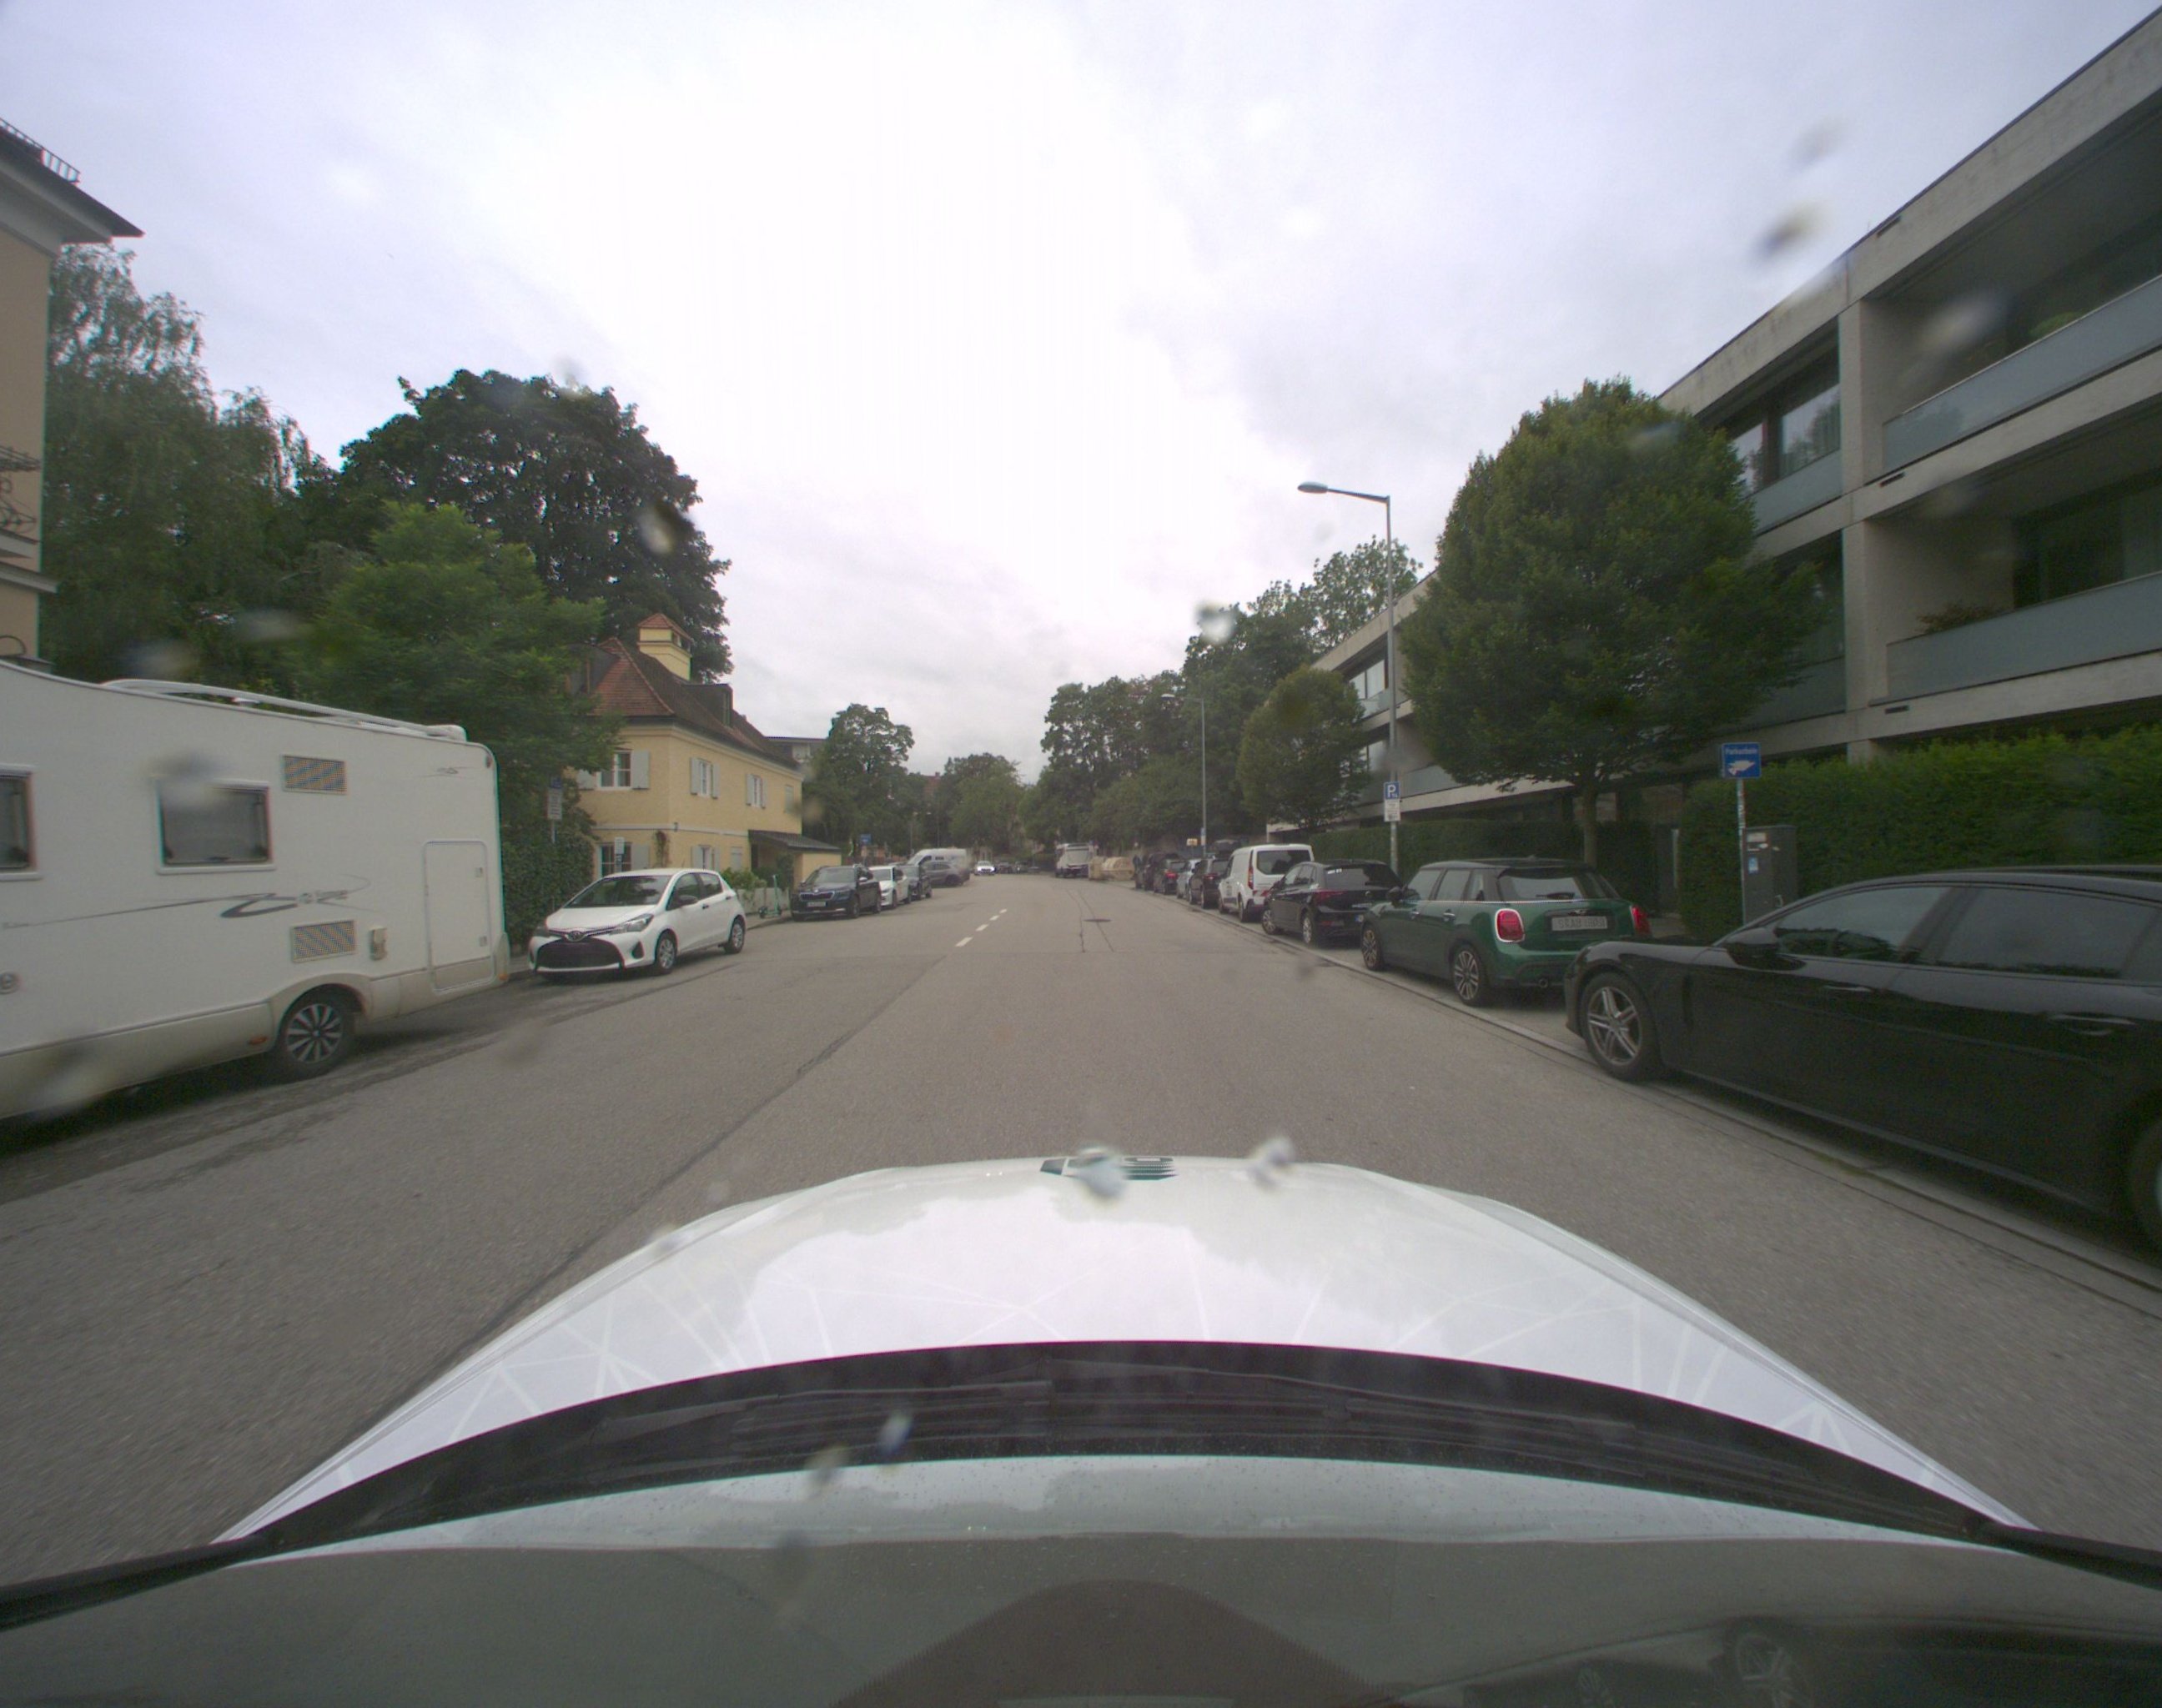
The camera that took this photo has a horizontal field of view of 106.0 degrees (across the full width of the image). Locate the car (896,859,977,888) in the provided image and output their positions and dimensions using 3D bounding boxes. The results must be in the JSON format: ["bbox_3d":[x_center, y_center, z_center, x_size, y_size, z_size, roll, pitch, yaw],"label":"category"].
[{"bbox_3d":[-9.018,1.207,50.919,4.546,1.594,1.944,-2,0,-35],"label":"car"}]

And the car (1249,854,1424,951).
[{"bbox_3d":[4.427,0.764,14.809,1.743,1.464,4.240,-1,0,-1],"label":"car"}]

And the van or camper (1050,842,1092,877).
[{"bbox_3d":[-0.941,0.489,72.608,2.275,2.906,7.244,-1,0,-13],"label":"van or camper"}]

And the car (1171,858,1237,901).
[{"bbox_3d":[4.523,0.910,30.455,1.743,1.480,3.885,-1,0,-2],"label":"car"}]

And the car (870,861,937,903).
[{"bbox_3d":[-7.248,1.100,33.723,1.841,1.535,4.557,-3,0,-2],"label":"car"}]

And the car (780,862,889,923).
[{"bbox_3d":[-7.117,1.061,23.989,1.840,1.535,4.439,-3,-1,-1],"label":"car"}]

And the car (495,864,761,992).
[{"bbox_3d":[-6.739,0.982,12.746,1.773,1.535,4.226,-3,0,-1],"label":"car"}]

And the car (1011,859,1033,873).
[{"bbox_3d":[-7.135,1.498,98.083,1.747,1.536,2.922,-2,-1,-24],"label":"car"}]

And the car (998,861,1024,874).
[{"bbox_3d":[-8.801,1.680,101.839,1.886,1.427,4.188,-2,0,-24],"label":"car"}]

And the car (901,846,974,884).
[{"bbox_3d":[-10.361,0.796,58.973,4.657,2.563,2.210,-2,0,-35],"label":"car"}]

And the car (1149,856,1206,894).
[{"bbox_3d":[4.211,0.896,36.167,1.744,1.539,4.563,-1,0,-4],"label":"car"}]

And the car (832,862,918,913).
[{"bbox_3d":[-7.173,1.106,28.808,1.840,1.535,4.519,-3,0,-1],"label":"car"}]

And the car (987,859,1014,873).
[{"bbox_3d":[-10.564,1.594,106.101,2.003,1.711,4.845,-2,0,-24],"label":"car"}]

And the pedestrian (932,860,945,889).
[{"bbox_3d":[-8.252,1.176,47.158,0.590,1.648,0.712,-4,0,-10],"label":"pedestrian"}]

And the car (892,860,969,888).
[{"bbox_3d":[-8.939,1.204,48.157,4.338,1.530,1.923,-1,-2,-15],"label":"car"}]

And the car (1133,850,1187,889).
[{"bbox_3d":[3.958,0.787,41.528,1.984,1.871,5.070,0,-1,-4],"label":"car"}]

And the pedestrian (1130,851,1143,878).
[{"bbox_3d":[4.170,0.785,61.024,0.797,1.985,0.627,0,-1,-16],"label":"pedestrian"}]

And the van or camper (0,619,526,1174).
[{"bbox_3d":[-6.954,0.266,4.657,2.447,2.940,7.211,-3,0,0],"label":"van or camper"}]

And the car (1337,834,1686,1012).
[{"bbox_3d":[4.561,0.624,9.474,1.722,1.529,4.202,-3,0,-1],"label":"car"}]

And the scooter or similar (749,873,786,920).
[{"bbox_3d":[-8.402,1.115,21.888,0.451,1.188,1.371,1,-1,0],"label":"scooter or similar"}]

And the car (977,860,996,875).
[{"bbox_3d":[-9.622,1.349,82.872,1.769,1.475,4.126,-1,-1,-5],"label":"car"}]

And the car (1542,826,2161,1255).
[{"bbox_3d":[4.466,0.652,4.023,1.277,1.506,5.204,-3,0,-1],"label":"car"}]

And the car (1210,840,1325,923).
[{"bbox_3d":[4.563,0.618,20.691,1.816,1.860,4.897,0,0,0],"label":"car"}]

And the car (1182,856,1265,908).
[{"bbox_3d":[4.409,0.825,25.837,1.743,1.480,4.595,0,0,-1],"label":"car"}]

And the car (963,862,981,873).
[{"bbox_3d":[-16.000,1.950,119.606,1.713,1.537,4.210,-3,0,-21],"label":"car"}]
